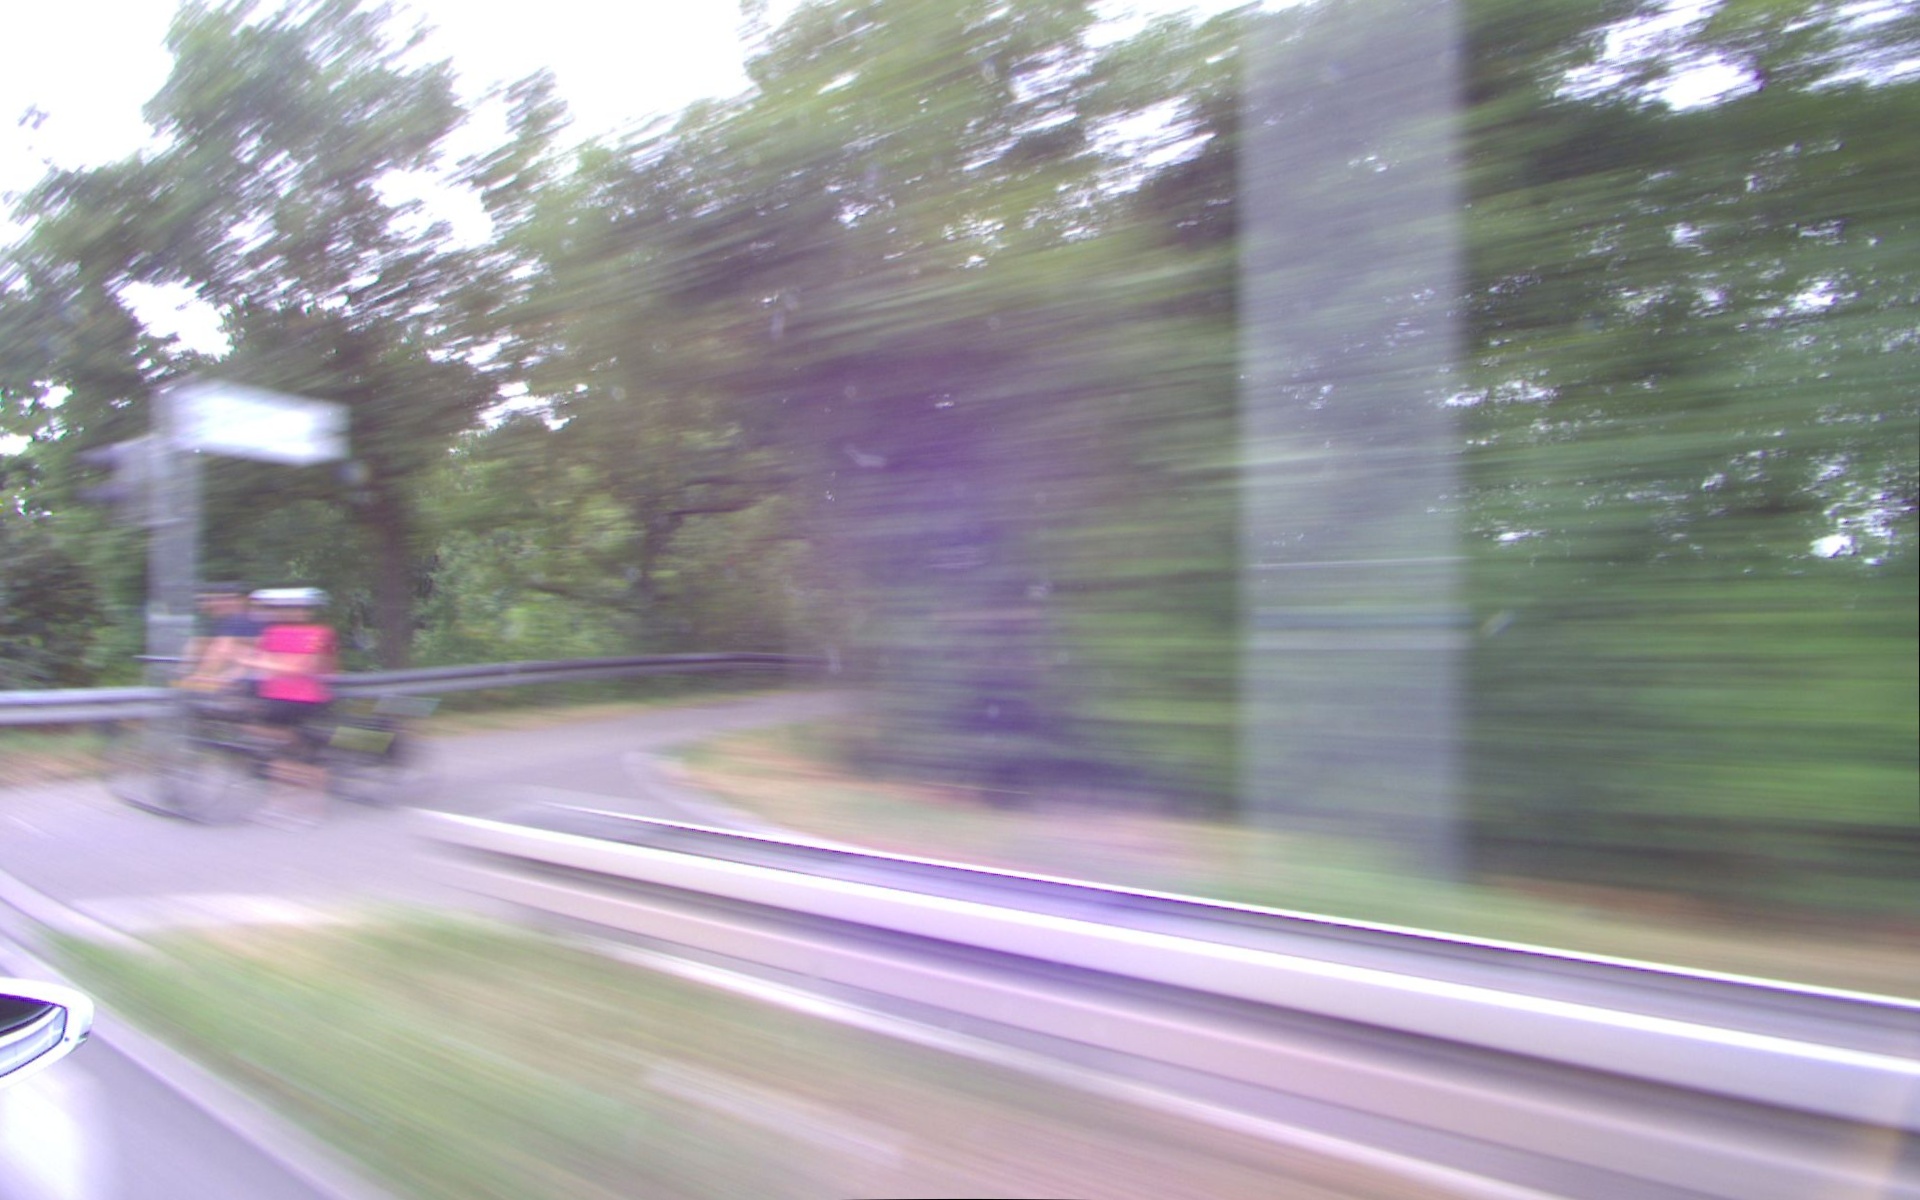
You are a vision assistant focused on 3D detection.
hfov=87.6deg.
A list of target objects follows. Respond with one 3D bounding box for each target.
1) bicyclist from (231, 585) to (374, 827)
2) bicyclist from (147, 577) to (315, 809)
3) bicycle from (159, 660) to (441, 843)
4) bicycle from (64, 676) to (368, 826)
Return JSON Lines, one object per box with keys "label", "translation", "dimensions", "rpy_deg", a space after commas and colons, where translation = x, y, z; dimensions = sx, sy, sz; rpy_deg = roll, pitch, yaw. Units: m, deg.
{"label": "bicyclist", "translation": [-5.102, 0.777, 7.773], "dimensions": [0.844, 1.755, 0.631], "rpy_deg": [0, 0, -41]}
{"label": "bicyclist", "translation": [-6.246, 0.741, 8.610], "dimensions": [0.655, 1.869, 0.946], "rpy_deg": [0, 2, 32]}
{"label": "bicycle", "translation": [-5.084, 1.105, 7.788], "dimensions": [1.728, 1.154, 0.625], "rpy_deg": [-2, 1, -41]}
{"label": "bicycle", "translation": [-6.264, 1.217, 8.568], "dimensions": [0.651, 0.953, 1.967], "rpy_deg": [0, 1, 32]}
